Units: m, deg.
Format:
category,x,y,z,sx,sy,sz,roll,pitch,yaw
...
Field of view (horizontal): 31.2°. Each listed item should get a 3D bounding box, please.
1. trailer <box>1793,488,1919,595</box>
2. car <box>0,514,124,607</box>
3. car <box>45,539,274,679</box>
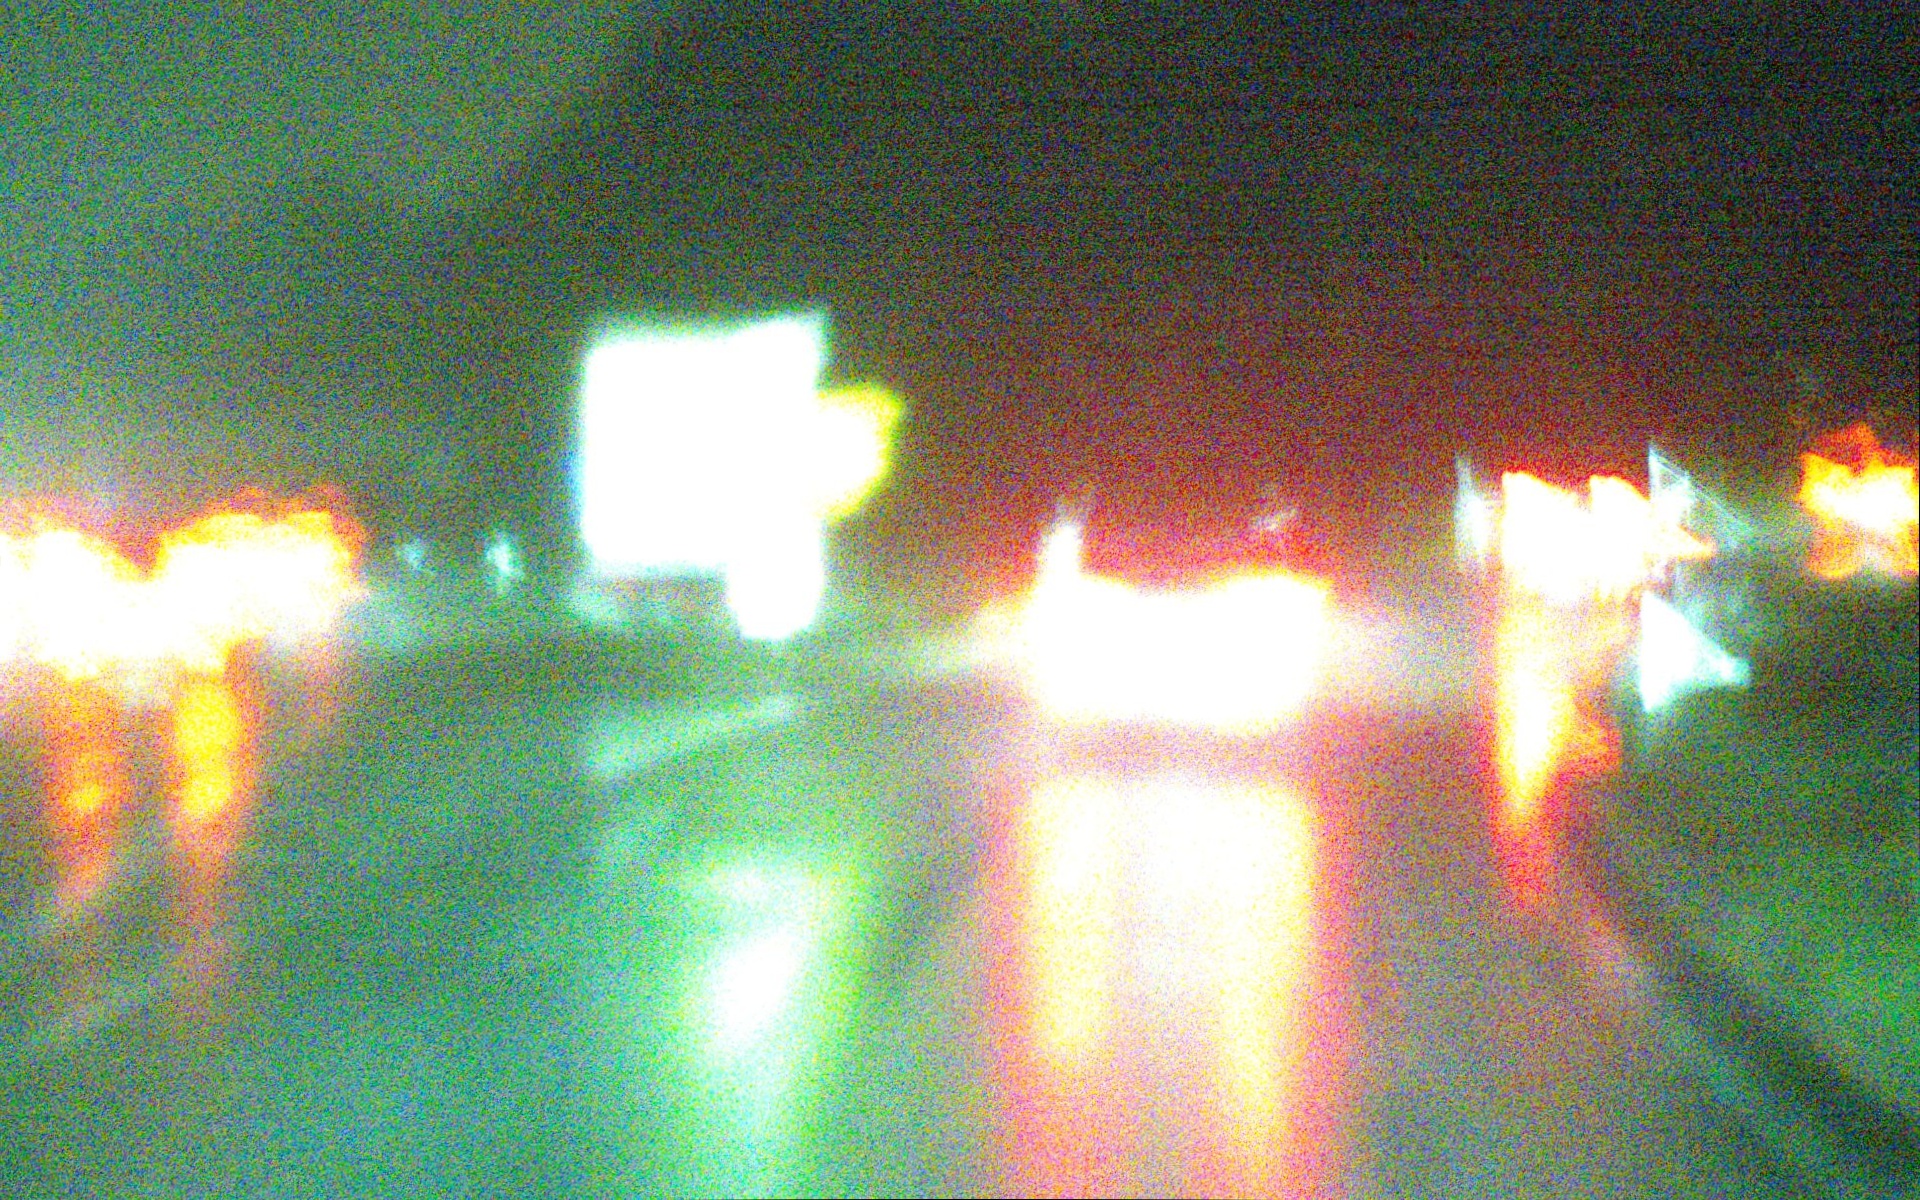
category,x,y,z,sx,sy,sz,roll,pitch,yaw
trailer,18.907,-1.145,70.064,2.080,2.007,10.635,0,0,23
car,-15.615,-0.671,58.820,1.767,1.512,4.915,-1,1,-4
car,-8.290,0.080,35.897,1.961,1.376,4.050,0,0,-8
